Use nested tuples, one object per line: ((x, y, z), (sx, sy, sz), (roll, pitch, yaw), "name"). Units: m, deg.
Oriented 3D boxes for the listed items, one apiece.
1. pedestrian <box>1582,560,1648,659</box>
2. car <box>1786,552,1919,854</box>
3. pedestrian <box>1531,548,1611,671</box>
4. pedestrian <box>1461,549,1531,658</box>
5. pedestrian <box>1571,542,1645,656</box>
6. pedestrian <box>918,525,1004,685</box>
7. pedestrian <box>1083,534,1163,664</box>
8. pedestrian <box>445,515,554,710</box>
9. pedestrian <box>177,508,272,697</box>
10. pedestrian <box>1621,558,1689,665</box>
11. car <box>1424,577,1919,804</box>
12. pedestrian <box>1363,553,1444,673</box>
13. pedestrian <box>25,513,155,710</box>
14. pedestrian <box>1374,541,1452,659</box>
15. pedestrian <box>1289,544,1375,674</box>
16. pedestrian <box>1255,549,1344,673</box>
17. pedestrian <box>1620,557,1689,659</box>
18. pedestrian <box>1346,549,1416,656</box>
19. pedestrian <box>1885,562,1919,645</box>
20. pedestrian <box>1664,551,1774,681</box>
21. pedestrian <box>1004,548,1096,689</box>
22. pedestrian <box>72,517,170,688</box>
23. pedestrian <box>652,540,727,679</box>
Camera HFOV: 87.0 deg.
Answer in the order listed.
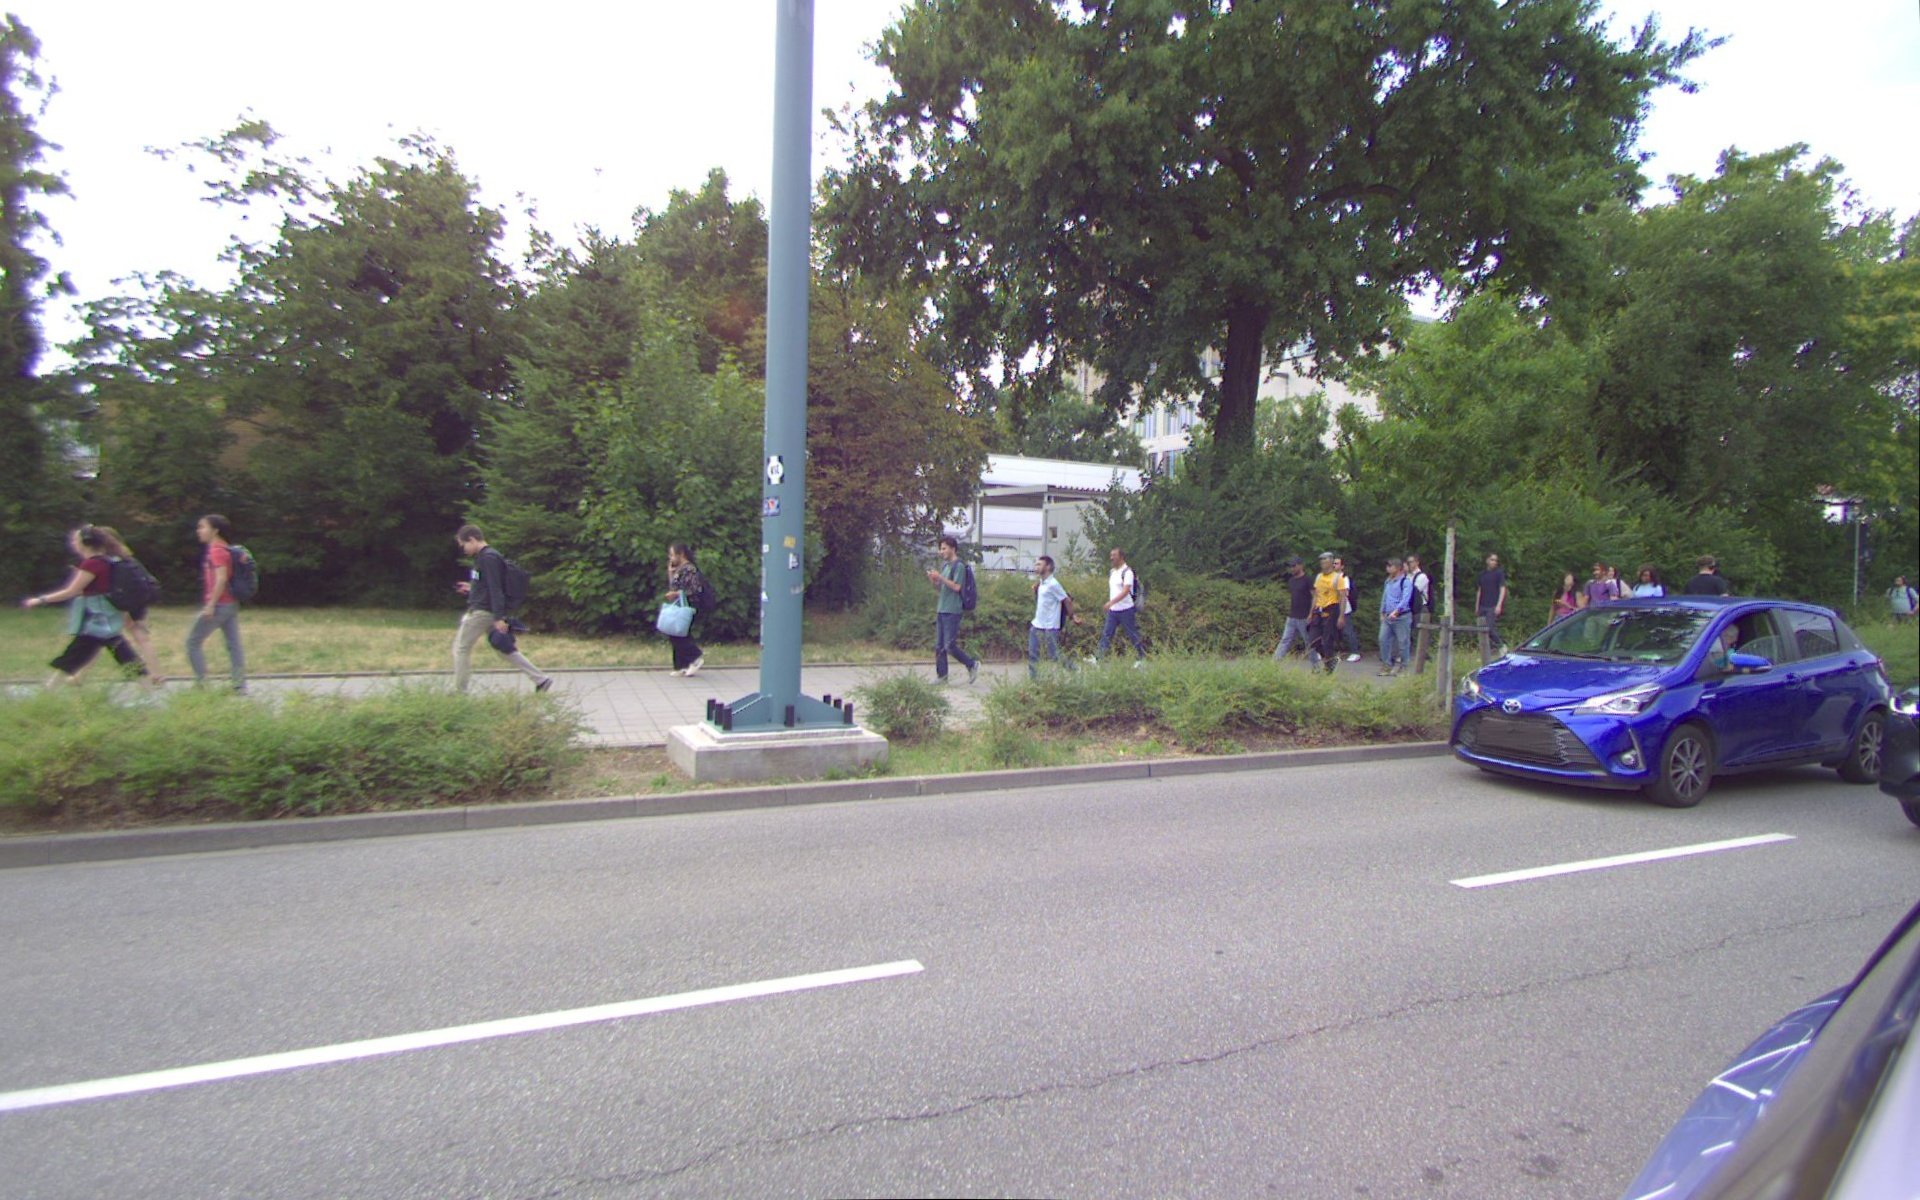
((12.043, 0.166, 18.613), (0.764, 1.766, 0.660), (1, 2, -25), "pedestrian")
((7.553, 0.584, 6.004), (4.547, 1.669, 1.910), (0, 1, -17), "car")
((9.075, 0.130, 15.047), (0.764, 1.766, 0.660), (1, 2, -25), "pedestrian")
((8.953, 0.049, 16.925), (0.764, 1.766, 0.660), (1, 2, -25), "pedestrian")
((10.272, -0.025, 16.044), (0.764, 1.766, 0.627), (1, 2, -25), "pedestrian")
((0.007, 0.046, 12.135), (0.795, 1.843, 0.659), (1, 2, -23), "pedestrian")
((2.296, -0.024, 14.307), (0.795, 1.766, 0.725), (1, 2, -23), "pedestrian")
((-4.570, 0.113, 10.078), (0.934, 1.843, 0.696), (1, 2, -23), "pedestrian")
((-7.190, 0.021, 9.913), (0.650, 1.785, 0.487), (1, 1, -23), "pedestrian")
((11.787, 0.185, 17.176), (0.773, 1.766, 0.584), (1, 2, -25), "pedestrian")
((5.942, 0.612, 8.313), (3.751, 1.512, 1.708), (1, 2, -21), "car")
((6.362, 0.170, 14.522), (0.795, 1.668, 0.660), (1, 2, -25), "pedestrian")
((-7.725, 0.091, 9.016), (0.738, 1.675, 0.559), (1, 2, -23), "pedestrian")
((7.125, 0.002, 15.916), (0.938, 1.789, 0.660), (1, -1, -25), "pedestrian")
((5.050, 0.109, 13.746), (0.824, 1.710, 0.660), (1, 2, -25), "pedestrian")
((4.783, 0.136, 14.264), (0.951, 1.687, 0.660), (1, 2, -25), "pedestrian")
((12.347, 0.125, 18.000), (0.764, 1.766, 0.660), (1, 2, -25), "pedestrian")
((6.915, 0.030, 16.637), (0.764, 1.720, 0.660), (1, 2, -25), "pedestrian")
((21.417, 0.068, 22.741), (0.725, 1.817, 0.648), (1, 1, -26), "pedestrian")
((11.213, 0.211, 14.993), (0.871, 1.853, 0.936), (1, 1, 4), "pedestrian")
((1.077, 0.202, 12.204), (0.795, 1.622, 0.780), (1, 2, -23), "pedestrian")
((-8.367, 0.019, 10.115), (0.639, 1.653, 0.470), (1, 1, -23), "pedestrian")
((-3.255, 0.100, 12.161), (0.769, 1.603, 0.639), (1, 2, -23), "pedestrian")
